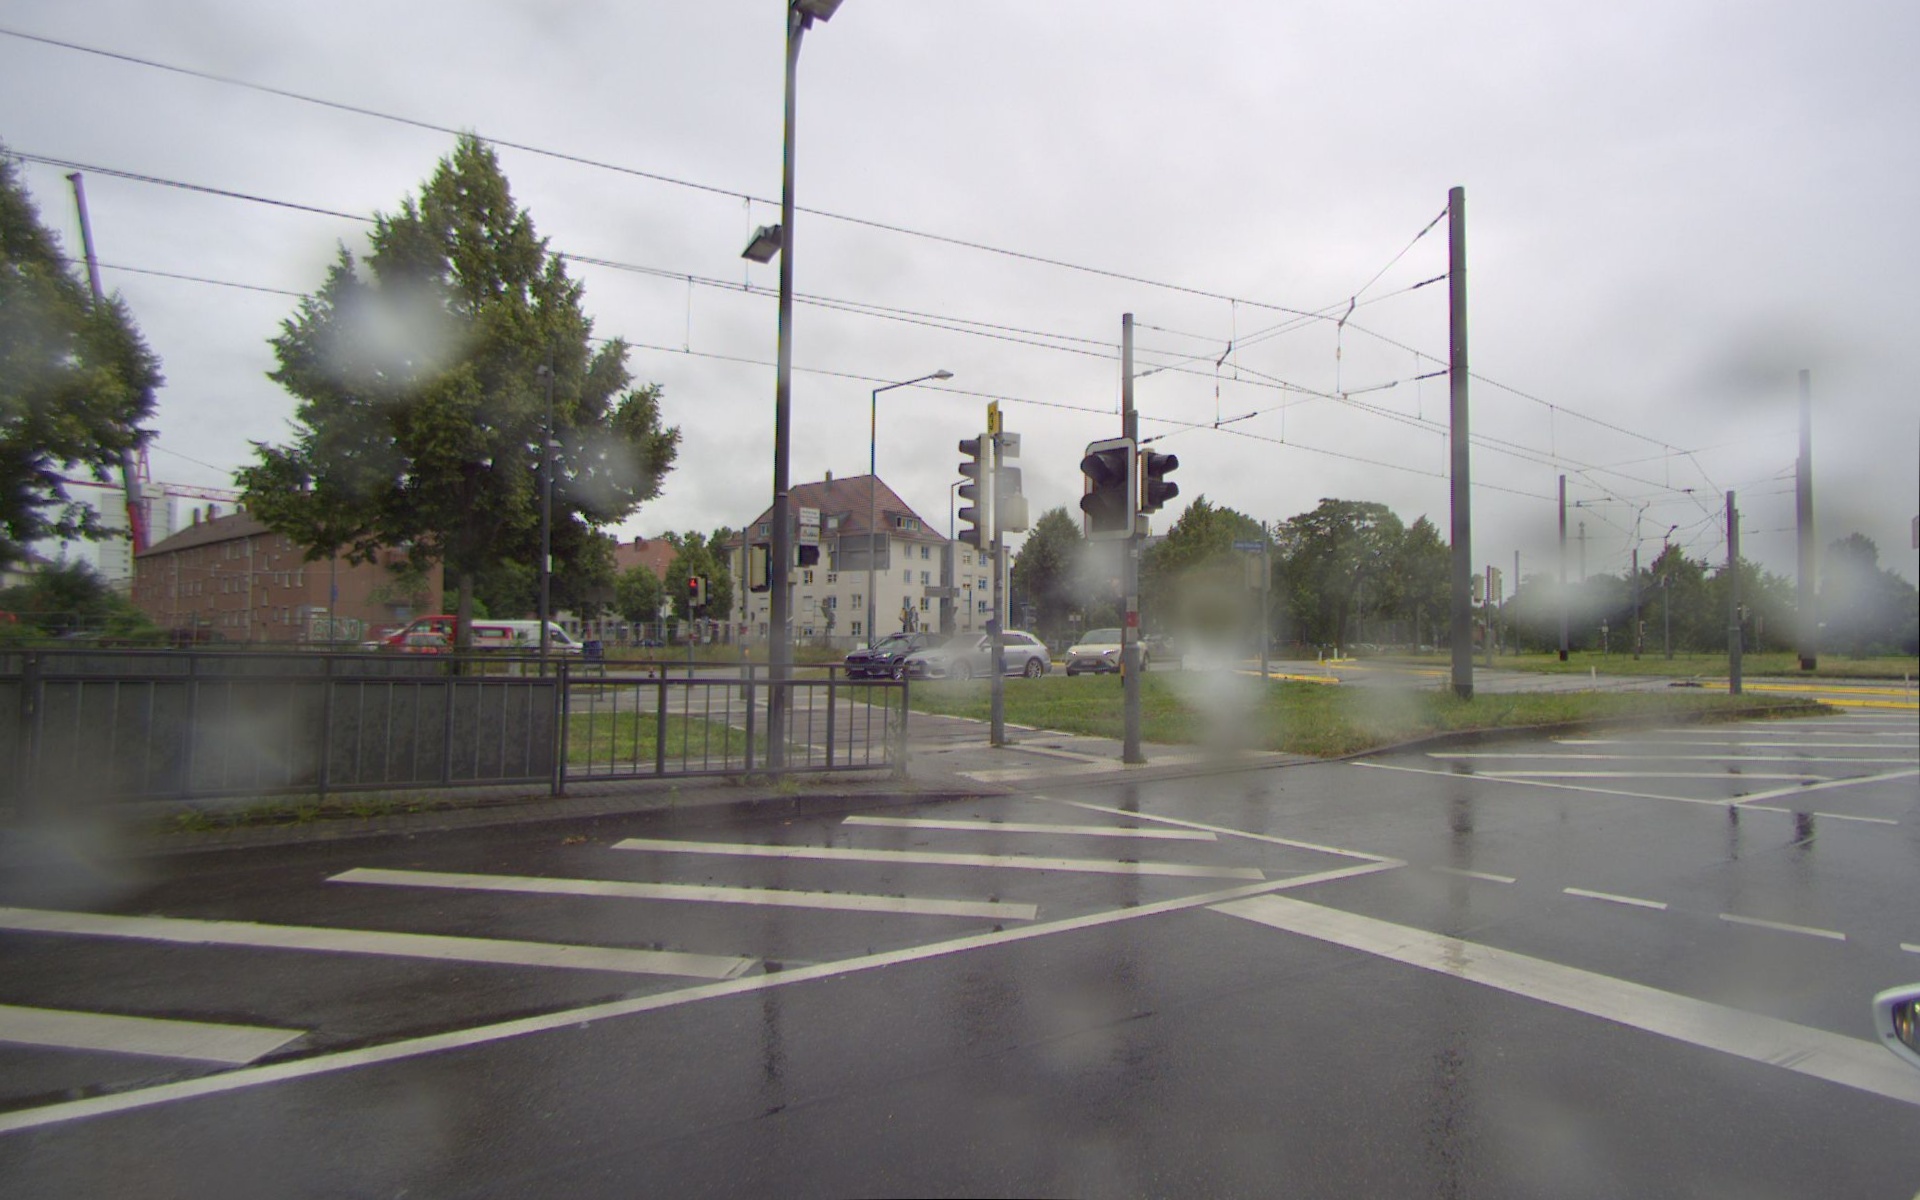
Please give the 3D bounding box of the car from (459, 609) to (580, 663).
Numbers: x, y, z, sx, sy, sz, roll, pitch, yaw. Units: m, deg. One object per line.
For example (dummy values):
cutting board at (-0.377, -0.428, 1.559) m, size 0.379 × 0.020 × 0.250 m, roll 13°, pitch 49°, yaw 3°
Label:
car at (-26.102, 2.152, 59.842) m, size 6.329 × 2.978 × 2.346 m, roll 2°, pitch 0°, yaw -20°

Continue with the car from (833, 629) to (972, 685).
car at (-1.683, 1.681, 30.255) m, size 3.973 × 1.506 × 1.807 m, roll 2°, pitch 0°, yaw -44°

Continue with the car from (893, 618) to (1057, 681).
car at (0.481, 1.300, 27.323) m, size 1.806 × 1.506 × 4.599 m, roll 2°, pitch 0°, yaw 44°

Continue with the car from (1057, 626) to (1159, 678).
car at (4.926, 1.644, 32.884) m, size 1.819 × 1.506 × 4.217 m, roll 2°, pitch 0°, yaw 31°

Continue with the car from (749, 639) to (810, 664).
car at (-15.391, 4.378, 85.868) m, size 4.746 × 1.835 × 2.000 m, roll 2°, pitch 0°, yaw 20°

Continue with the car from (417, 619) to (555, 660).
car at (-24.850, 2.073, 52.951) m, size 6.329 × 2.040 × 2.347 m, roll 1°, pitch -2°, yaw -20°

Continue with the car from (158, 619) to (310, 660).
car at (-39.466, 2.107, 54.766) m, size 2.325 × 2.040 × 6.388 m, roll 2°, pitch 0°, yaw 44°

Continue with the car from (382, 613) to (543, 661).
car at (-22.807, 1.717, 46.399) m, size 6.329 × 2.040 × 2.346 m, roll 2°, pitch 0°, yaw -20°
